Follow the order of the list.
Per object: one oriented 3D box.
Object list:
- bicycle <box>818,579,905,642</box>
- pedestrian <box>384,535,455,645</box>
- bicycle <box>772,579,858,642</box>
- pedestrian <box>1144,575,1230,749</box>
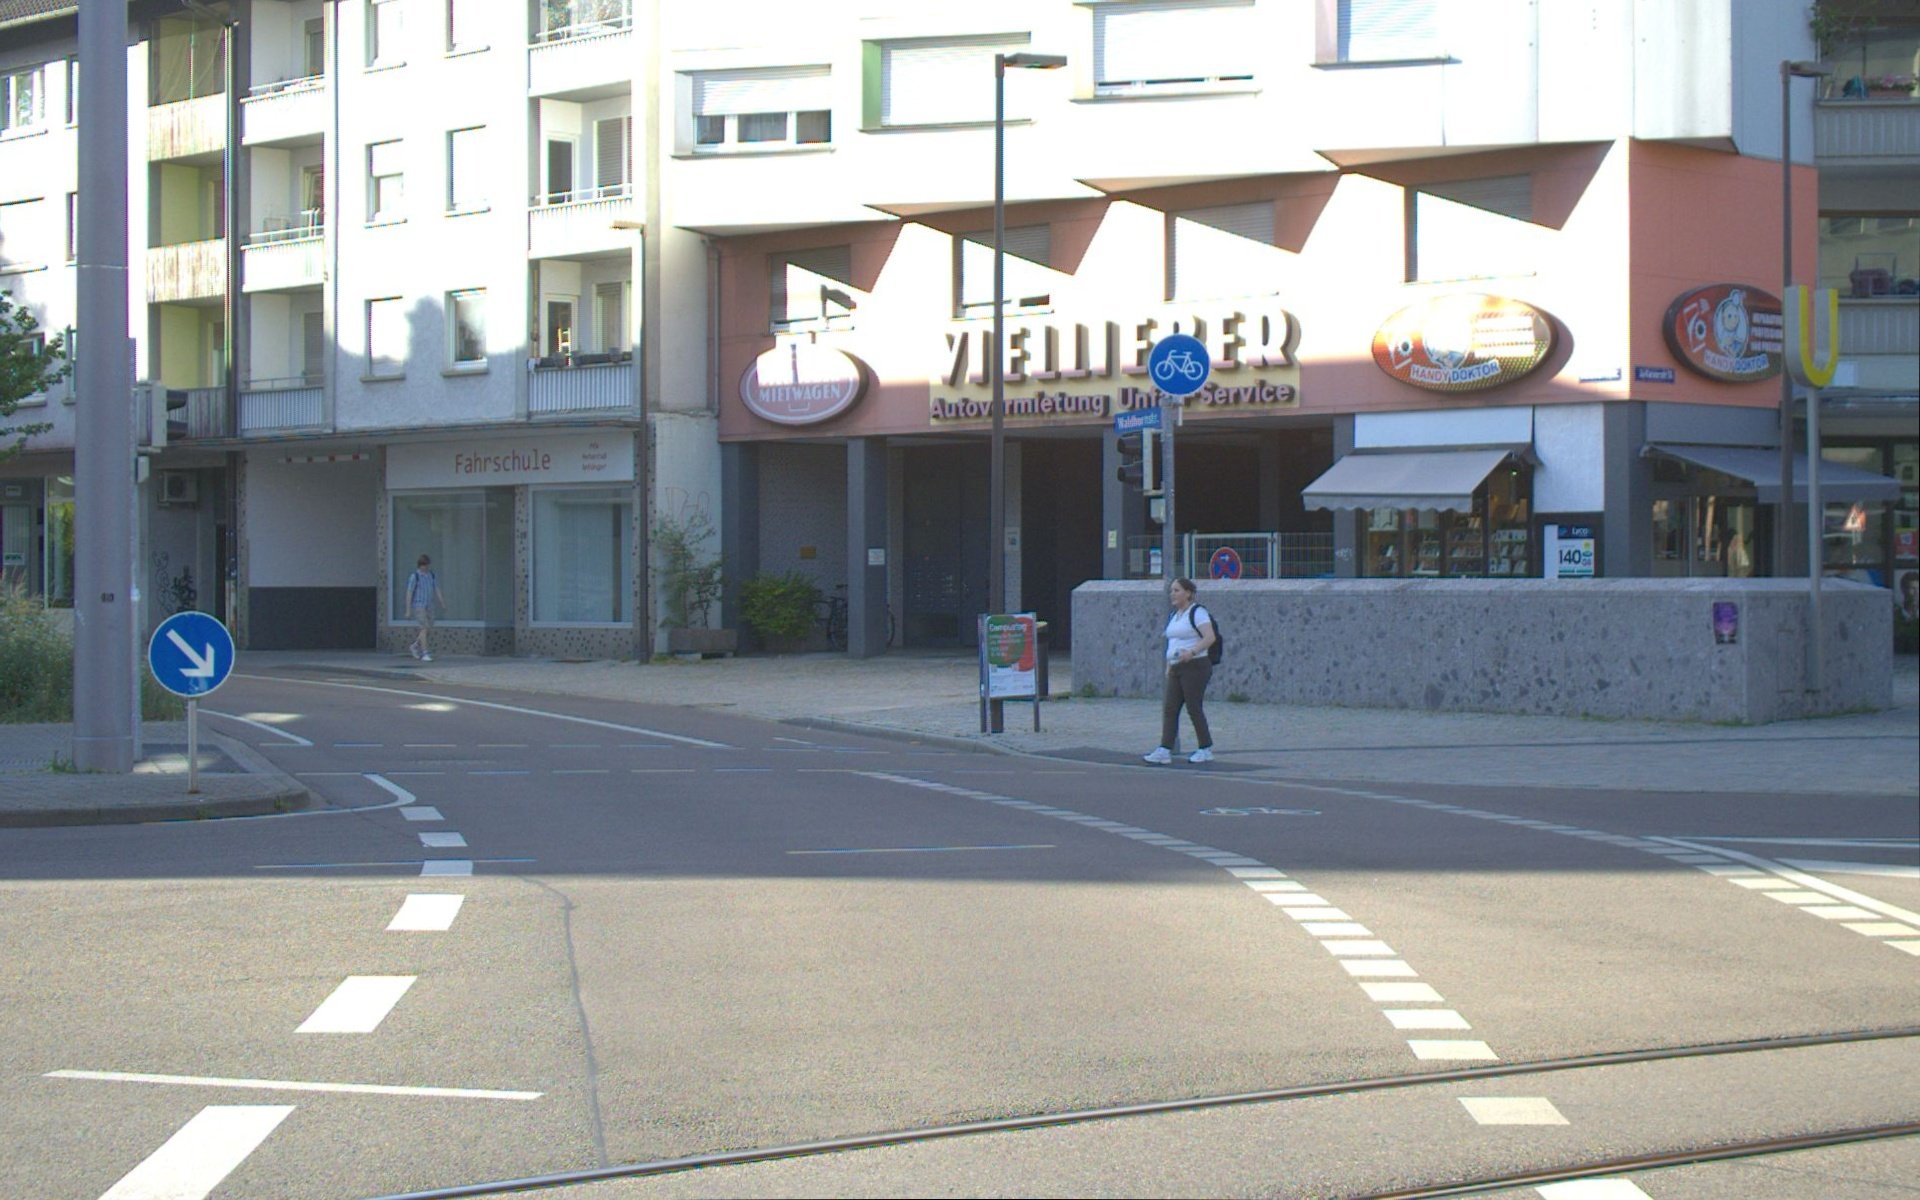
[{"bbox_3d":[-1.671,0.174,57.970,0.495,1.035,1.637,0,1,-44],"label":"bicycle"},{"bbox_3d":[-9.243,-0.178,58.804,0.731,1.848,0.947,-3,2,-44],"label":"pedestrian"},{"bbox_3d":[-2.433,0.176,57.564,0.495,1.035,1.637,0,1,-44],"label":"bicycle"},{"bbox_3d":[2.087,0.560,31.592,0.539,1.578,0.557,0,0,-42],"label":"pedestrian"}]
